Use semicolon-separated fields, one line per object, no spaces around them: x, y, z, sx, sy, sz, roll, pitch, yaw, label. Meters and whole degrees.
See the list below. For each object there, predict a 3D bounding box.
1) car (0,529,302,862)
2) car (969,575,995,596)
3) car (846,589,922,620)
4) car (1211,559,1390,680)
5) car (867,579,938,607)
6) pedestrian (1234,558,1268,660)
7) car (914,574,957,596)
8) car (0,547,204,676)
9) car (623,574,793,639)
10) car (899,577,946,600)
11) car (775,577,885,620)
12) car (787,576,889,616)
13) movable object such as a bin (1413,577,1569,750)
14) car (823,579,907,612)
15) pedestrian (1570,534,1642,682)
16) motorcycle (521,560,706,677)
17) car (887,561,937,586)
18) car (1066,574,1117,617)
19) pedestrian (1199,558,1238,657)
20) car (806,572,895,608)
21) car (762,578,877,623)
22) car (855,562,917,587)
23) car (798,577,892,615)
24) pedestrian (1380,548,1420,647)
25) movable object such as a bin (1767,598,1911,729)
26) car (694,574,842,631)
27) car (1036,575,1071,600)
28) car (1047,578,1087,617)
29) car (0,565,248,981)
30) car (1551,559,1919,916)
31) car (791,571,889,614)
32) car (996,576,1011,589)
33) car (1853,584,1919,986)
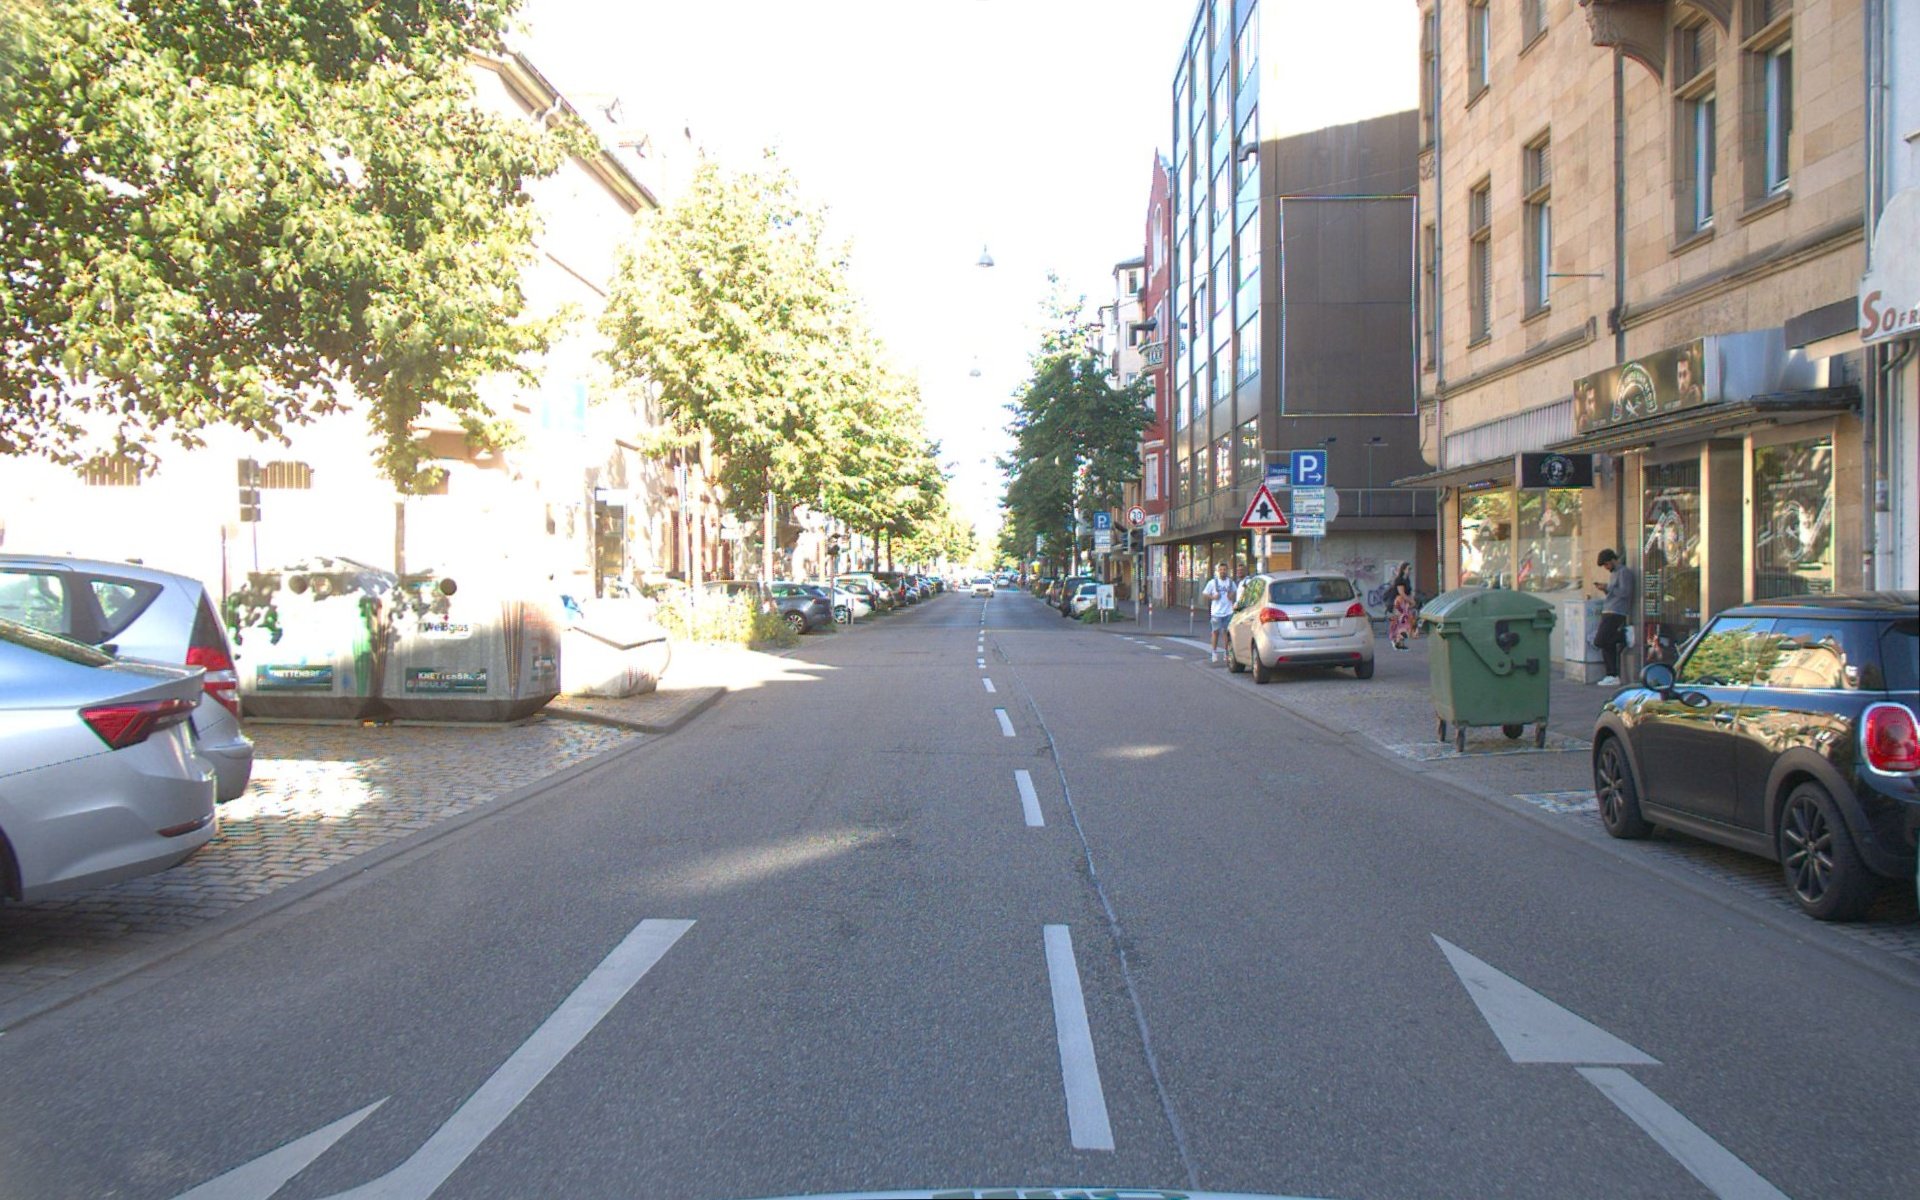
-5.623;0.439;8.477;3.946;1.614;1.812;2;0;-31;car
1.786;-1.104;130.912;1.952;1.583;4.001;1;0;2;car
-4.218;0.233;92.195;3.903;1.534;2.001;2;0;4;car
5.240;0.285;26.067;1.860;1.704;4.825;1;0;1;car
-3.391;-0.412;97.996;3.903;1.534;2.001;2;0;4;car
5.234;0.156;29.777;0.501;1.811;0.612;1;0;17;pedestrian
-2.394;-1.480;162.530;3.902;2.049;2.002;1;0;11;car
-14.042;0.152;24.406;5.198;1.831;2.146;1;0;-26;car
-6.323;0.161;41.761;3.904;1.534;2.001;1;0;2;car
-3.395;-1.066;149.314;3.902;2.049;2.002;1;0;11;car
-4.870;-0.052;62.268;3.904;1.534;2.001;1;0;2;car
-4.933;-0.167;67.303;3.904;1.534;2.001;1;0;2;car
4.950;0.559;15.523;1.051;1.482;1.494;-3;1;6;movable object such as a bin
-4.586;-0.226;80.614;3.905;1.534;2.000;1;0;1;car
8.137;0.105;20.859;0.595;1.819;0.683;-1;0;0;pedestrian
-4.981;0.263;23.800;2.420;1.632;1.000;-1;0;20;motorcycle
-4.119;-2.274;142.152;3.902;2.049;2.002;1;0;11;car
5.324;-0.165;67.334;1.952;1.646;4.012;1;0;3;car
4.725;0.132;30.178;0.601;1.765;0.634;1;0;15;pedestrian
-5.013;-0.448;75.998;3.904;1.534;1.895;1;0;2;car
-5.082;0.009;60.183;3.904;1.534;2.001;1;0;2;car
-4.933;-1.700;111.176;3.903;1.534;2.001;2;0;4;car
-4.982;-0.171;72.072;3.904;1.534;2.001;1;0;2;car
8.583;-0.043;32.269;0.632;1.904;0.626;1;-1;23;pedestrian
7.947;0.560;14.986;0.858;1.143;0.828;1;0;1;movable object such as a bin
-5.439;0.064;47.211;3.904;1.534;2.001;1;0;2;car
5.607;-0.757;99.603;1.952;1.478;4.000;0;1;1;car
5.934;-0.134;92.157;1.952;2.049;4.000;1;0;1;car
-4.978;0.585;6.156;4.171;1.503;1.721;2;0;-27;car
4.582;0.590;8.740;1.643;1.473;3.786;1;0;2;car
-5.044;-0.303;69.790;3.904;1.703;2.089;1;0;2;car
5.709;-2.315;216.490;1.831;1.583;4.001;1;0;2;car
4.525;0.673;4.947;1.683;1.541;3.582;-2;0;-1;car
